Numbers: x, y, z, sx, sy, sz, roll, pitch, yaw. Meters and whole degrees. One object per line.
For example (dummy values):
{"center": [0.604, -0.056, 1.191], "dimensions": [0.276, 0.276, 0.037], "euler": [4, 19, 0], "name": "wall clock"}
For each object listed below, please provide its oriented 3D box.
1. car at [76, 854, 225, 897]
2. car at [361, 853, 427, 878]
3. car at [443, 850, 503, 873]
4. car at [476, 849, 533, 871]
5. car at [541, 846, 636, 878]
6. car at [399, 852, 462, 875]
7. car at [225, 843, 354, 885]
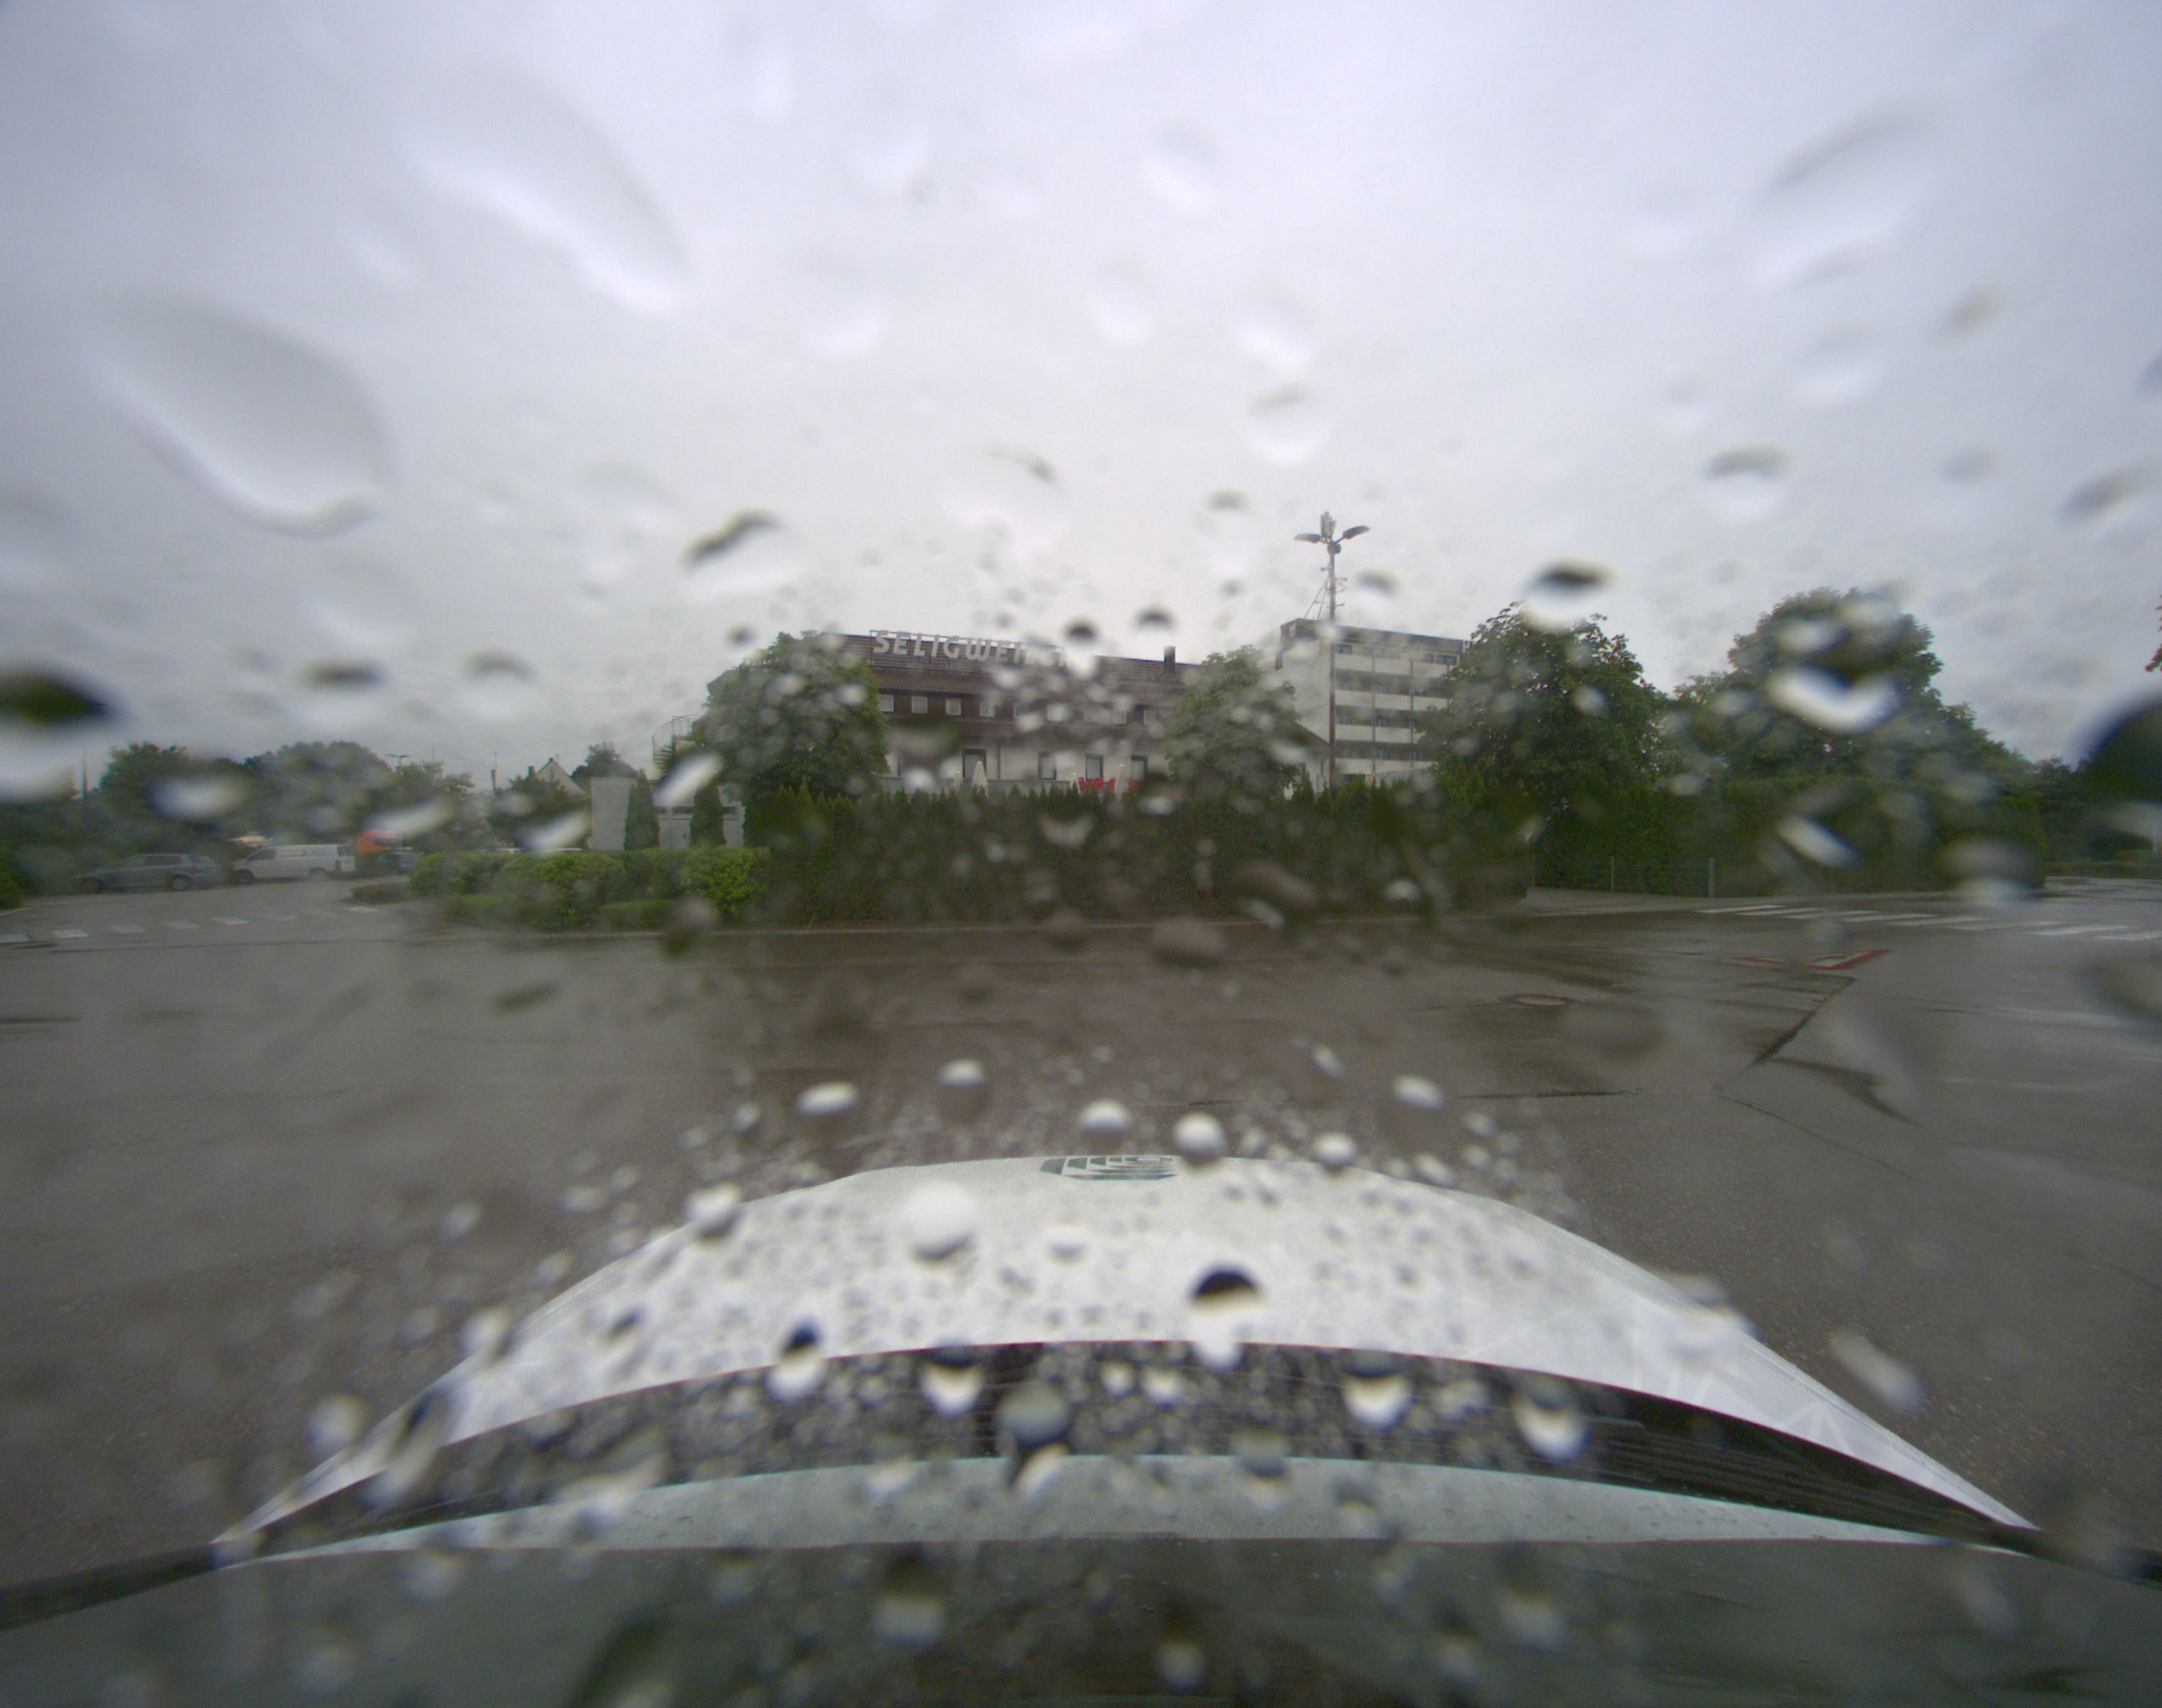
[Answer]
{"center": [-38.594, 0.860, 33.887], "dimensions": [3.747, 1.550, 1.440], "euler": [-2, 2, -22], "name": "car"}
{"center": [-42.927, 0.736, 50.885], "dimensions": [3.636, 1.458, 1.564], "euler": [-1, 2, 22], "name": "car"}
{"center": [-41.791, 0.518, 55.966], "dimensions": [3.636, 1.458, 1.594], "euler": [-1, 2, 22], "name": "car"}
{"center": [-41.498, 0.437, 58.605], "dimensions": [3.636, 1.458, 1.594], "euler": [-1, 2, 22], "name": "car"}
{"center": [-26.946, 0.413, 44.715], "dimensions": [4.193, 1.497, 1.705], "euler": [-2, 2, -23], "name": "car"}
{"center": [-42.786, 0.622, 53.589], "dimensions": [3.636, 1.458, 1.594], "euler": [-1, 2, 22], "name": "car"}
{"center": [-41.872, 0.481, 43.222], "dimensions": [4.539, 2.033, 1.633], "euler": [-2, 2, -22], "name": "car"}
